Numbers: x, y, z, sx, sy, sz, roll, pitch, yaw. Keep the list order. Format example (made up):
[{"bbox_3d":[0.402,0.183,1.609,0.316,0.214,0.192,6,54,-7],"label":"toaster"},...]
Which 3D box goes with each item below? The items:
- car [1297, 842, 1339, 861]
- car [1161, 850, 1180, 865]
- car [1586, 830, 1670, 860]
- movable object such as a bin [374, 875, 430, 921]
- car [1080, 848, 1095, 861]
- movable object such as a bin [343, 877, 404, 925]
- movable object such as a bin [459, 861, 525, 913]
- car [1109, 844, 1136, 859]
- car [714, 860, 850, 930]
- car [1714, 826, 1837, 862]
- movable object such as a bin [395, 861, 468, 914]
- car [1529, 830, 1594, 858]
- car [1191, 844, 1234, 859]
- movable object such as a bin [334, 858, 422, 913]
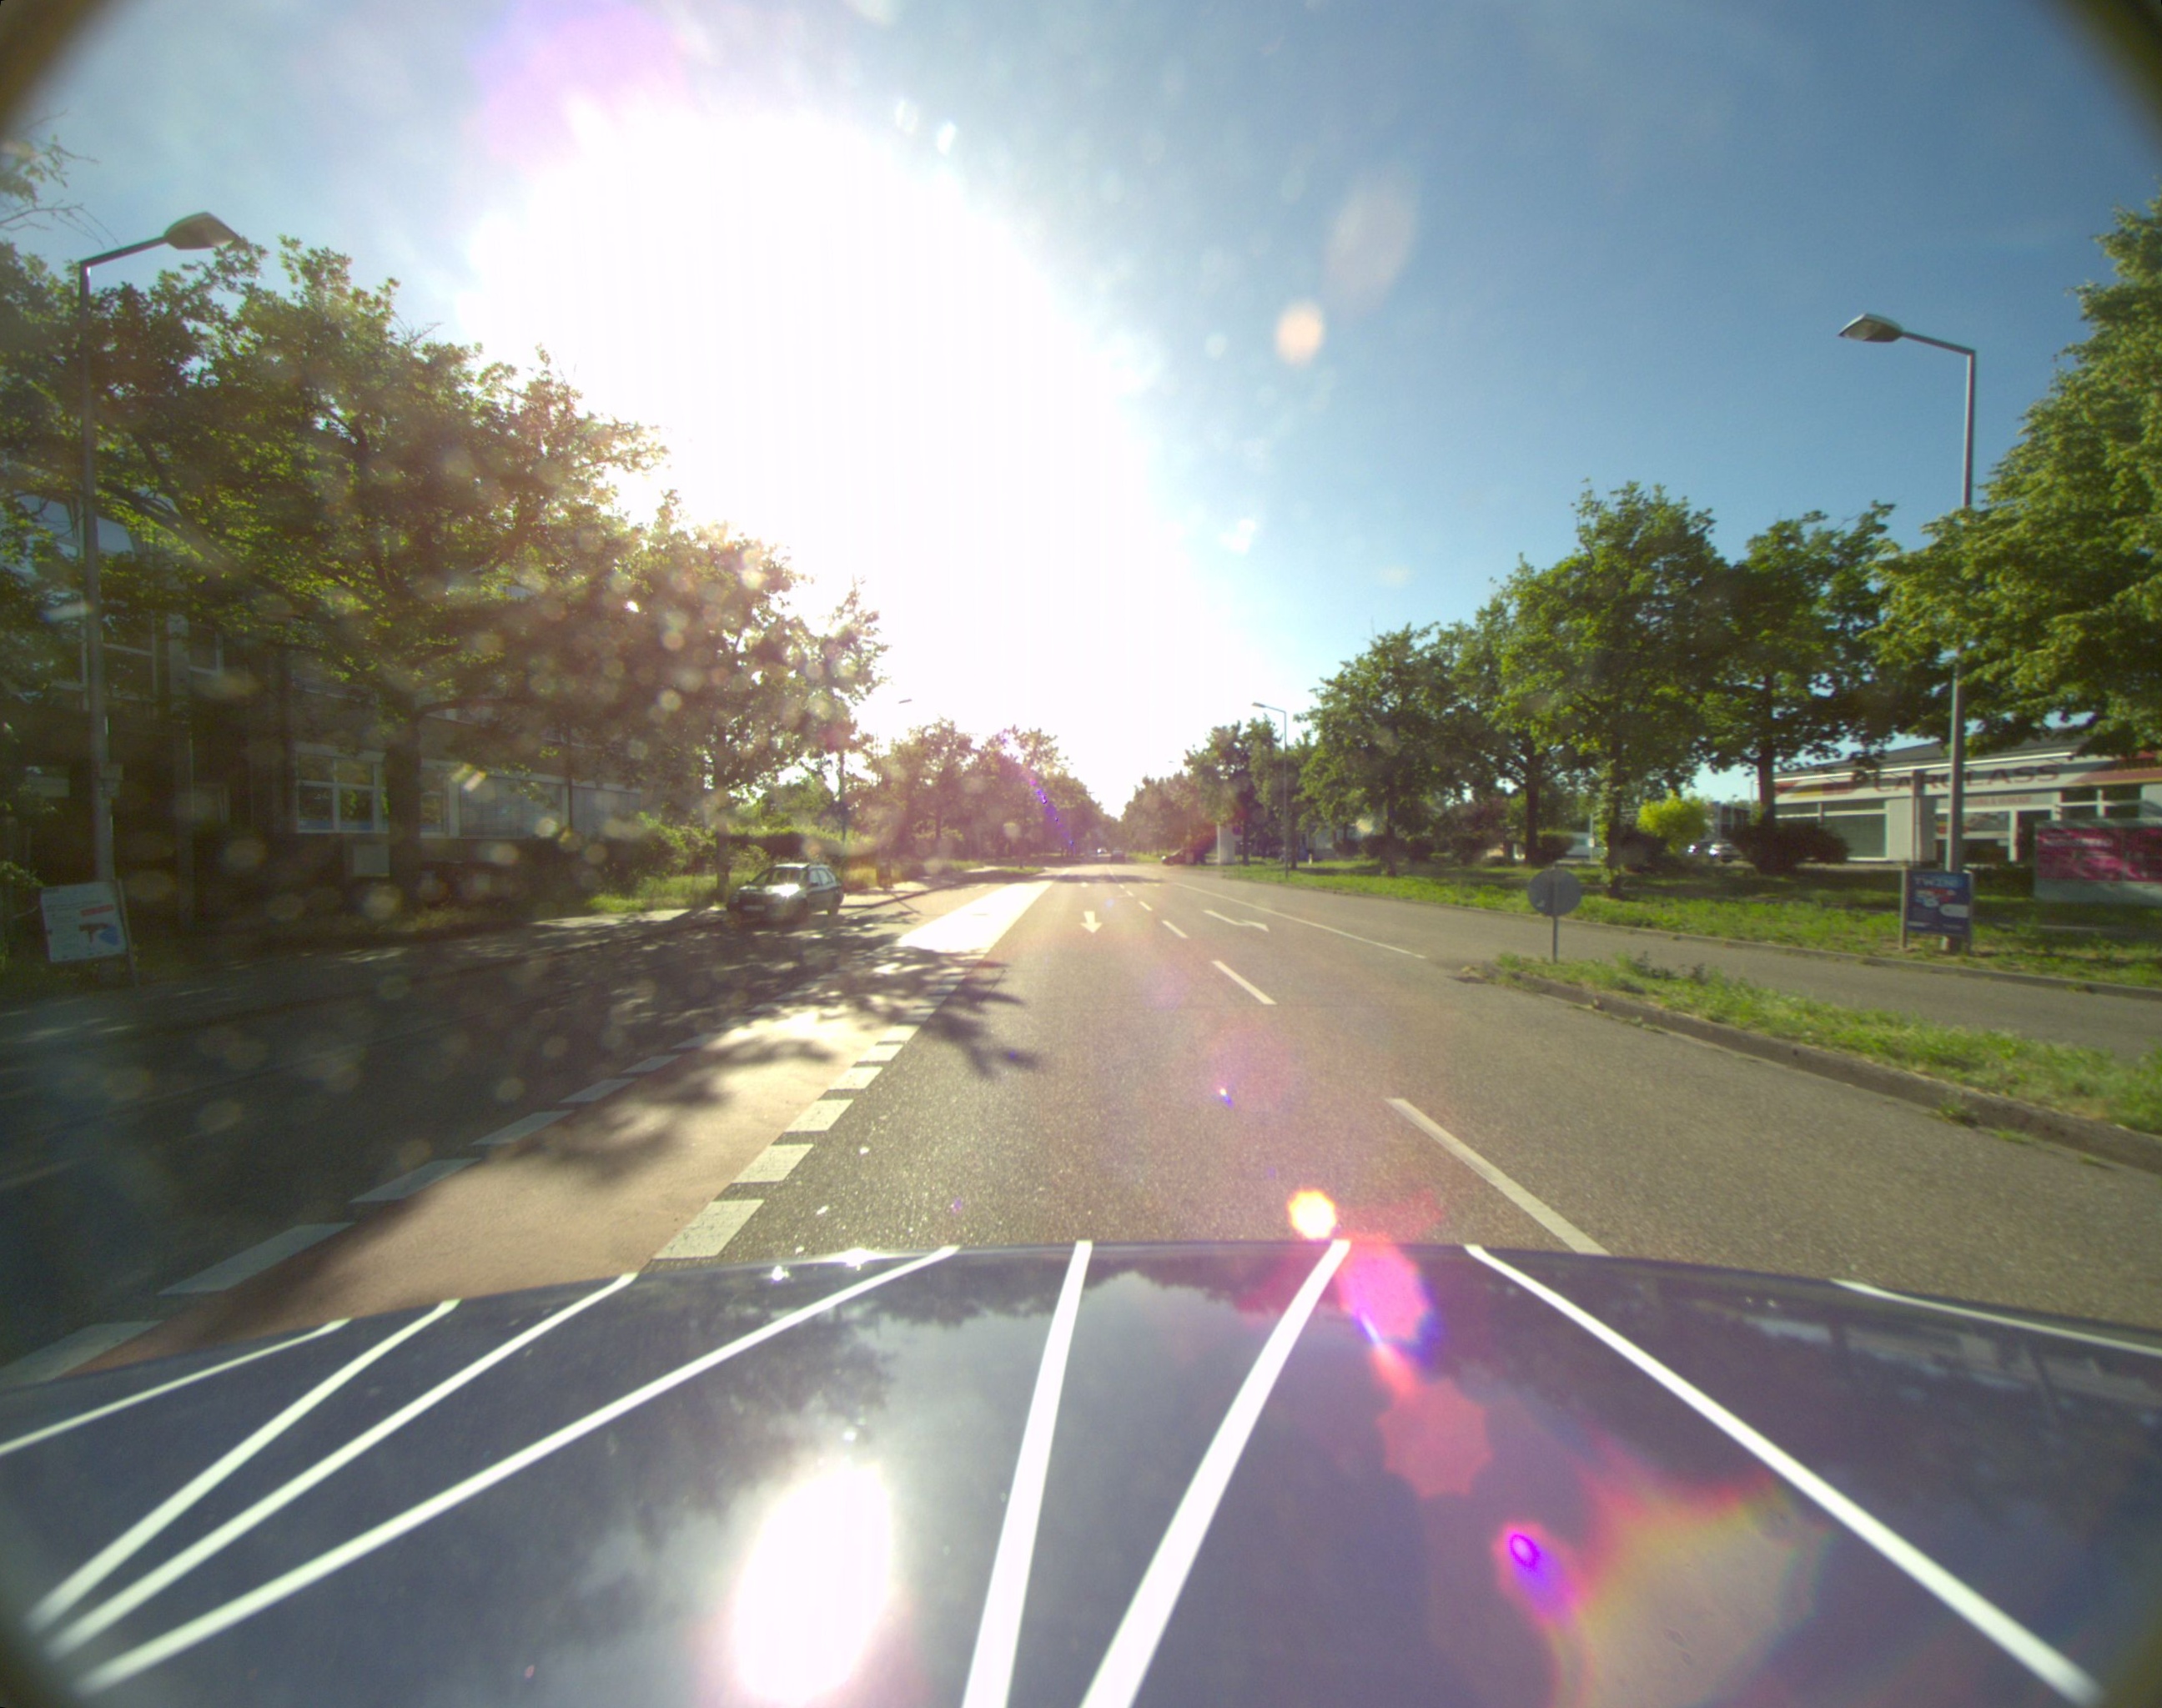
[{"bbox_3d":[25.074,-0.266,80.450,3.994,2.002,2.001,0,1,8],"label":"car"},{"bbox_3d":[9.273,0.297,78.875,1.776,1.477,4.215,1,1,4],"label":"car"},{"bbox_3d":[38.729,-0.654,53.850,4.491,1.934,1.997,-2,1,-2],"label":"car"},{"bbox_3d":[-16.163,1.044,18.104,0.687,1.036,0.695,-1,1,0],"label":"movable object such as a bin"},{"bbox_3d":[0.805,0.005,91.405,1.776,1.477,3.779,1,1,0],"label":"car"},{"bbox_3d":[-16.178,1.065,17.384,0.687,1.036,0.695,-2,1,0],"label":"movable object such as a bin"},{"bbox_3d":[-15.485,0.862,19.993,1.089,1.314,0.796,-1,1,0],"label":"movable object such as a bin"},{"bbox_3d":[5.067,-0.304,92.723,1.995,1.674,4.006,0,1,23],"label":"car"},{"bbox_3d":[-7.442,0.953,19.401,1.776,1.477,4.214,1,1,1],"label":"car"},{"bbox_3d":[34.001,-0.480,37.282,4.239,1.578,1.997,-2,1,-2],"label":"car"},{"bbox_3d":[-17.035,0.868,19.952,1.208,1.333,0.796,-1,1,0],"label":"movable object such as a bin"},{"bbox_3d":[38.785,-0.809,61.394,4.212,2.204,1.777,-1,1,-2],"label":"car"},{"bbox_3d":[13.490,-0.234,77.852,4.210,1.477,1.778,-1,1,5],"label":"car"},{"bbox_3d":[-18.436,0.820,19.954,1.470,1.371,0.879,-1,1,0],"label":"movable object such as a bin"}]
